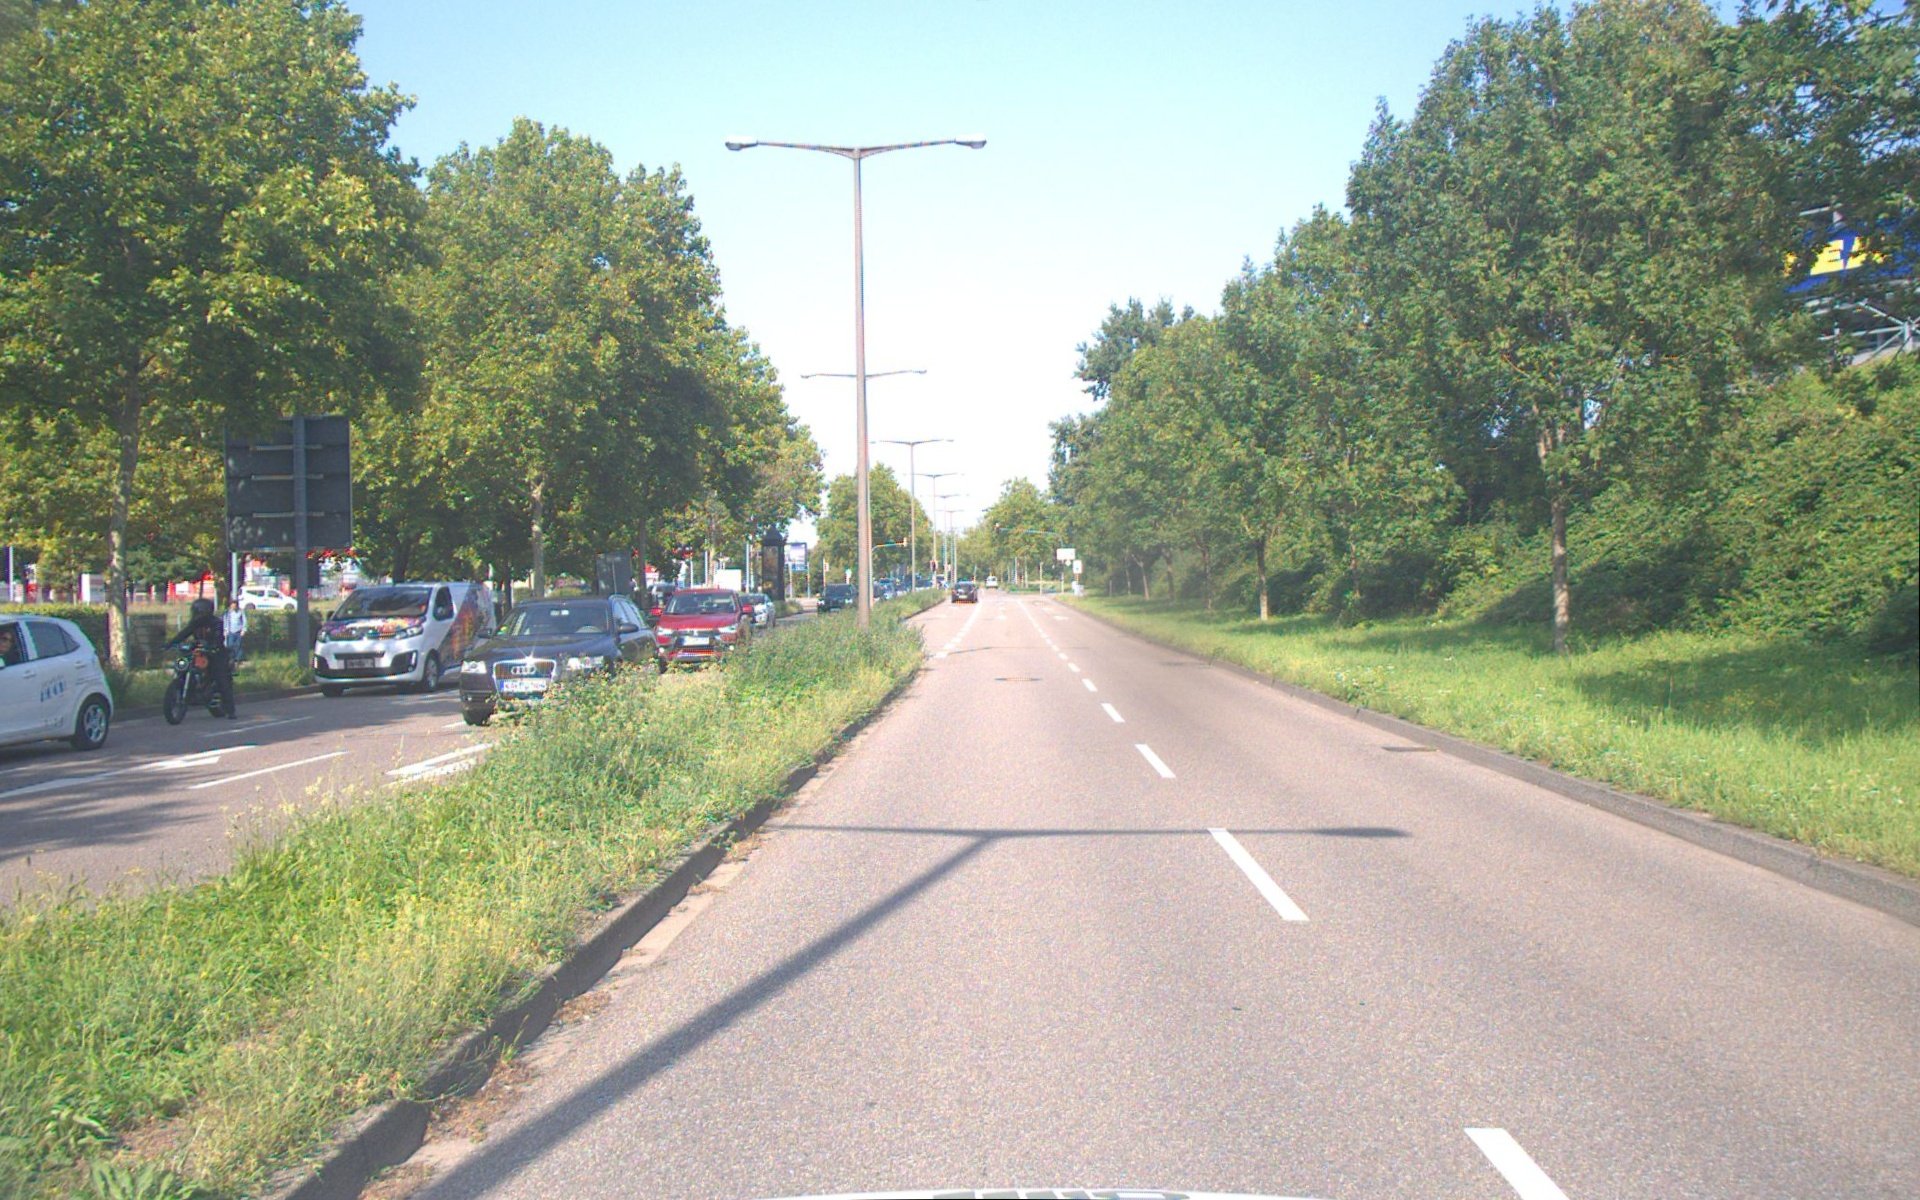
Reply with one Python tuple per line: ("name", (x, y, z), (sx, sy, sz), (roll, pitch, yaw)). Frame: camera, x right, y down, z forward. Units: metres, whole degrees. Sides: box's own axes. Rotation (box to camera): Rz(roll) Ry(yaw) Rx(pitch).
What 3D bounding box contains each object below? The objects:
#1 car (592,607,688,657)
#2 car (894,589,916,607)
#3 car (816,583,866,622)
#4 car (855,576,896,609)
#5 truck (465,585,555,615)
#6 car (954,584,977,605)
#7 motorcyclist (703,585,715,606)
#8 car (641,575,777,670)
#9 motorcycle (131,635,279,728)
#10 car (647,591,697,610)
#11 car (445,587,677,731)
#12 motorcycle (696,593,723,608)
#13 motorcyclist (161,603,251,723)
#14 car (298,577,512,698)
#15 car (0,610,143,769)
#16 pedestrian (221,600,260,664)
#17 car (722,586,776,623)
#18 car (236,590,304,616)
("car", (-9.329, 0.916, 48.526), (1.753, 1.285, 4.097), (-2, 0, 3))
("car", (-4.620, -0.183, 138.947), (1.642, 1.512, 3.493), (0, 0, 0))
("car", (-5.849, 0.121, 81.656), (1.952, 1.790, 4.478), (-3, 0, 2))
("car", (-4.908, -0.423, 96.334), (1.952, 1.790, 4.308), (-3, 0, 2))
("truck", (-49.293, 0.011, 181.310), (8.910, 3.009, 3.472), (-2, 0, -35))
("car", (0.413, -0.406, 122.619), (1.657, 1.512, 4.001), (0, 0, 1))
("motorcyclist", (-19.569, -0.336, 128.815), (0.676, 1.599, 0.675), (0, 0, -34))
("car", (-5.015, 0.415, 33.613), (1.913, 1.754, 4.588), (-1, 0, 2))
("motorcycle", (-10.142, 1.063, 22.335), (0.778, 1.126, 2.468), (0, 0, 2))
("car", (-22.661, 0.061, 130.236), (3.659, 1.468, 1.449), (0, 0, -35))
("car", (-4.780, 0.645, 20.493), (1.711, 1.505, 4.586), (-3, 0, 0))
("motorcycle", (-19.512, 0.050, 128.857), (2.051, 1.156, 0.669), (-1, 0, -35))
("motorcyclist", (-10.145, 0.832, 22.272), (0.761, 1.581, 0.923), (0, 0, 2))
("car", (-9.763, 0.602, 29.558), (1.943, 1.891, 4.970), (-3, 0, 2))
("car", (-10.062, 0.901, 16.534), (1.710, 1.505, 3.832), (-2, 0, 2))
("pedestrian", (-19.283, 0.856, 44.339), (0.604, 1.681, 0.934), (0, 0, 1))
("car", (-9.000, 0.191, 70.875), (1.754, 1.508, 4.000), (-1, 0, 0))
("car", (-46.718, 0.194, 111.966), (3.959, 1.709, 1.845), (0, 0, -38))
